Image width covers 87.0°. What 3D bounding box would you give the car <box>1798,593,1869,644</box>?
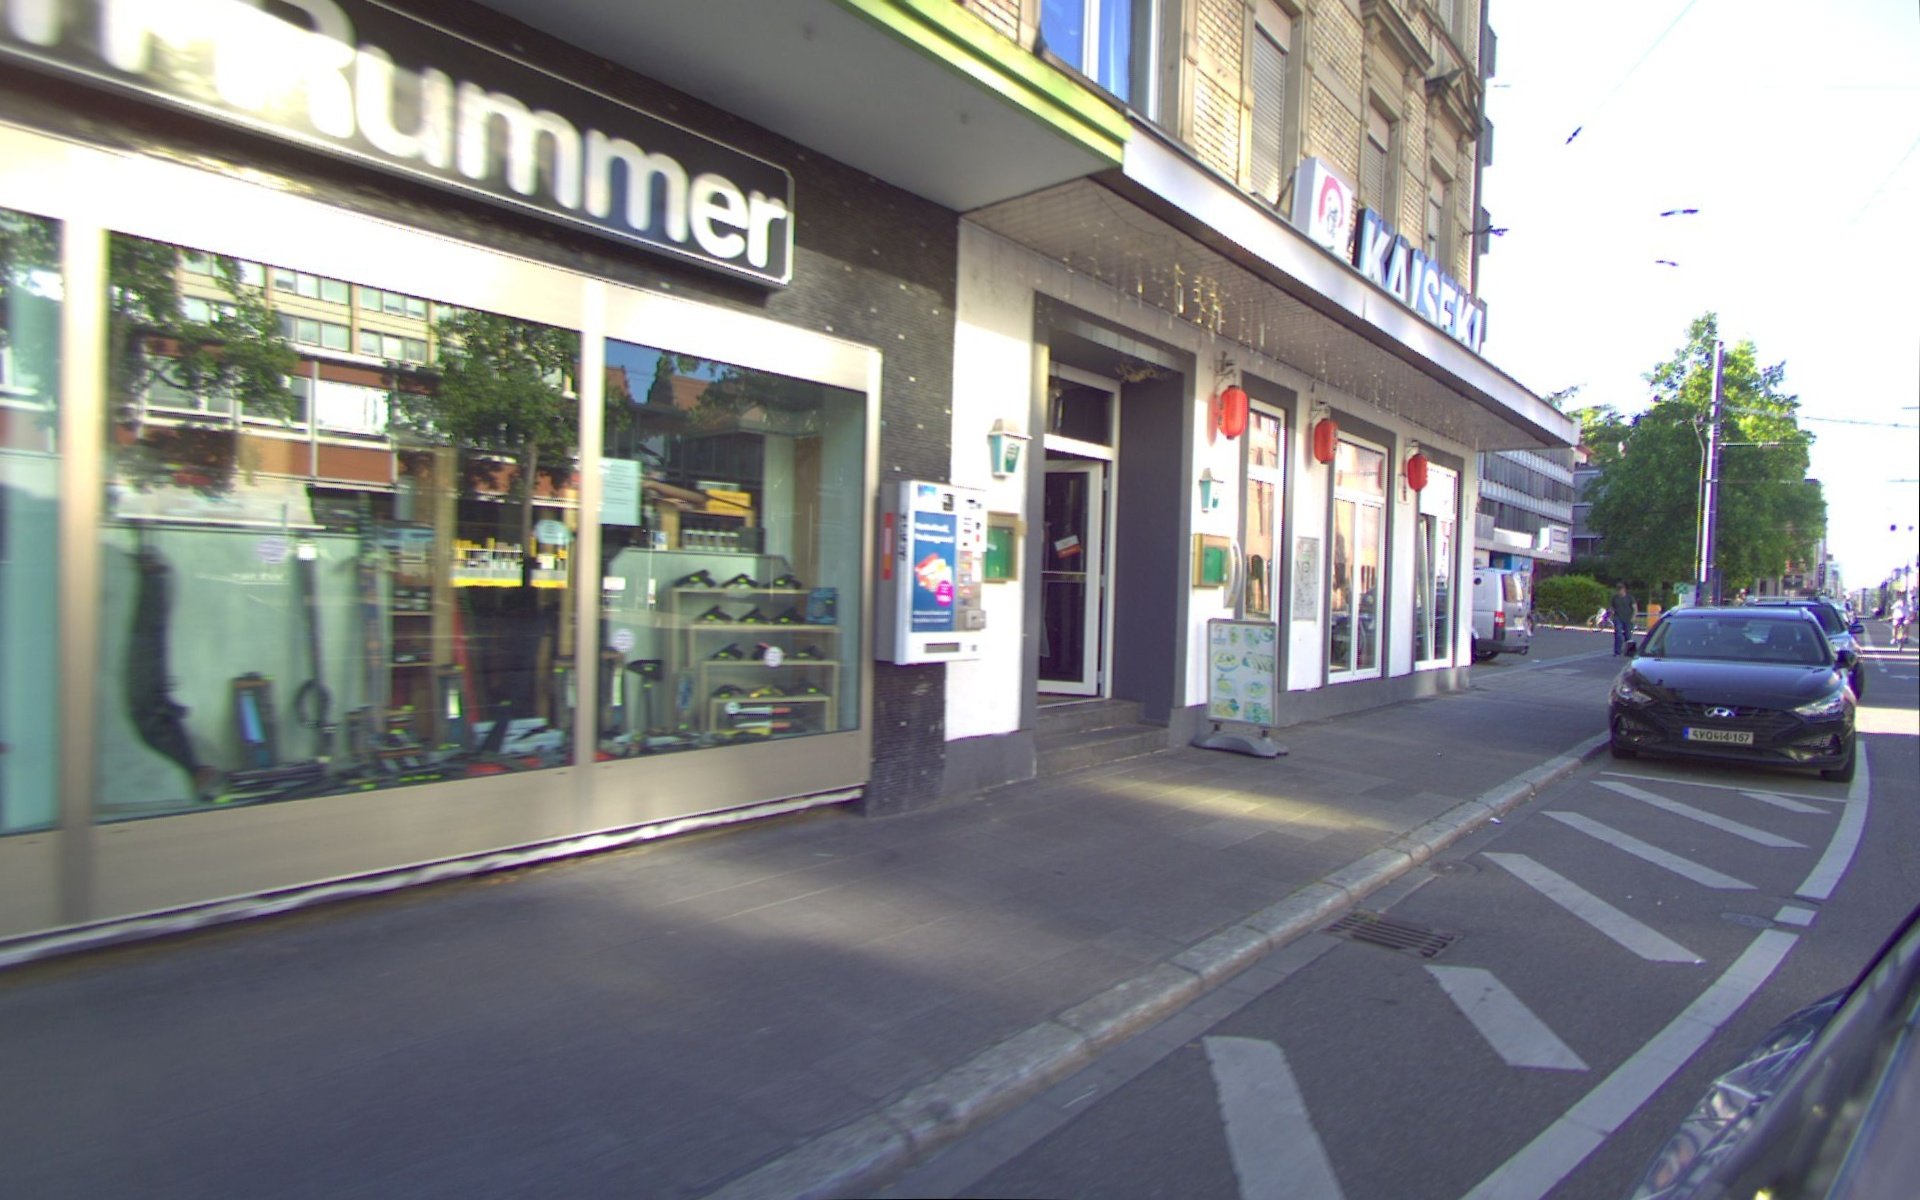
[{"bbox_3d":[29.644,0.568,34.324,1.727,1.501,4.855,0,1,42],"label":"car"}]

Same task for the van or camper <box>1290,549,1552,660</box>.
[{"bbox_3d":[9.844,0.001,21.918,1.967,1.956,4.700,1,4,-43],"label":"van or camper"}]

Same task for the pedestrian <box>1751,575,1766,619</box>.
[{"bbox_3d":[37.862,-0.151,47.982,0.506,2.039,0.565,0,0,43],"label":"pedestrian"}]

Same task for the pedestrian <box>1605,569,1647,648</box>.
[{"bbox_3d":[16.863,0.198,25.610,1.046,1.935,0.684,-1,1,-45],"label":"pedestrian"}]

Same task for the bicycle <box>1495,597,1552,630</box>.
[{"bbox_3d":[18.853,0.435,33.895,1.571,0.932,0.334,7,5,42],"label":"bicycle"}]

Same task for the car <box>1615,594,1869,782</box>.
[{"bbox_3d":[7.921,0.683,10.114,1.689,1.469,4.294,0,0,42],"label":"car"}]

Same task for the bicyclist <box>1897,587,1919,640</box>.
[{"bbox_3d":[32.861,0.452,34.828,0.893,1.787,1.014,0,1,43],"label":"bicyclist"}]

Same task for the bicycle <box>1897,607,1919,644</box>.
[{"bbox_3d":[32.868,0.876,34.832,0.886,1.176,2.047,0,1,42],"label":"bicycle"}]

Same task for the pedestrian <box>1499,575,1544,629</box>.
[{"bbox_3d":[18.656,0.044,33.627,1.011,1.667,0.902,7,6,43],"label":"pedestrian"}]

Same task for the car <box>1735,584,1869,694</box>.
[{"bbox_3d":[15.285,0.595,18.339,1.688,1.735,4.547,0,0,41],"label":"car"}]

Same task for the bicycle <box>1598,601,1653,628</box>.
[{"bbox_3d":[26.849,0.578,40.854,1.807,0.933,0.400,5,4,40],"label":"bicycle"}]

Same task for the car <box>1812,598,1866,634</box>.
[{"bbox_3d":[38.470,0.664,44.366,1.726,1.502,3.807,0,0,40],"label":"car"}]

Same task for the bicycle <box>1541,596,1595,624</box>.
[{"bbox_3d":[25.028,0.397,41.677,1.803,0.977,0.563,6,5,43],"label":"bicycle"}]

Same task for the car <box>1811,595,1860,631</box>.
[{"bbox_3d":[41.691,0.586,48.167,1.727,1.597,4.054,0,1,42],"label":"car"}]

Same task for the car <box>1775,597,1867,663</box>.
[{"bbox_3d":[22.135,0.702,25.986,1.697,1.501,4.163,0,1,42],"label":"car"}]

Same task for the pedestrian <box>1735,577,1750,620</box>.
[{"bbox_3d":[37.416,-0.076,48.407,0.506,2.039,0.565,0,0,43],"label":"pedestrian"}]

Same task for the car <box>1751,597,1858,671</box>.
[{"bbox_3d":[18.766,0.676,22.442,1.712,1.473,3.721,0,0,42],"label":"car"}]

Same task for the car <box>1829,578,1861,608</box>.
[{"bbox_3d":[65.486,-0.543,74.888,1.727,2.075,4.054,0,1,42],"label":"car"}]
